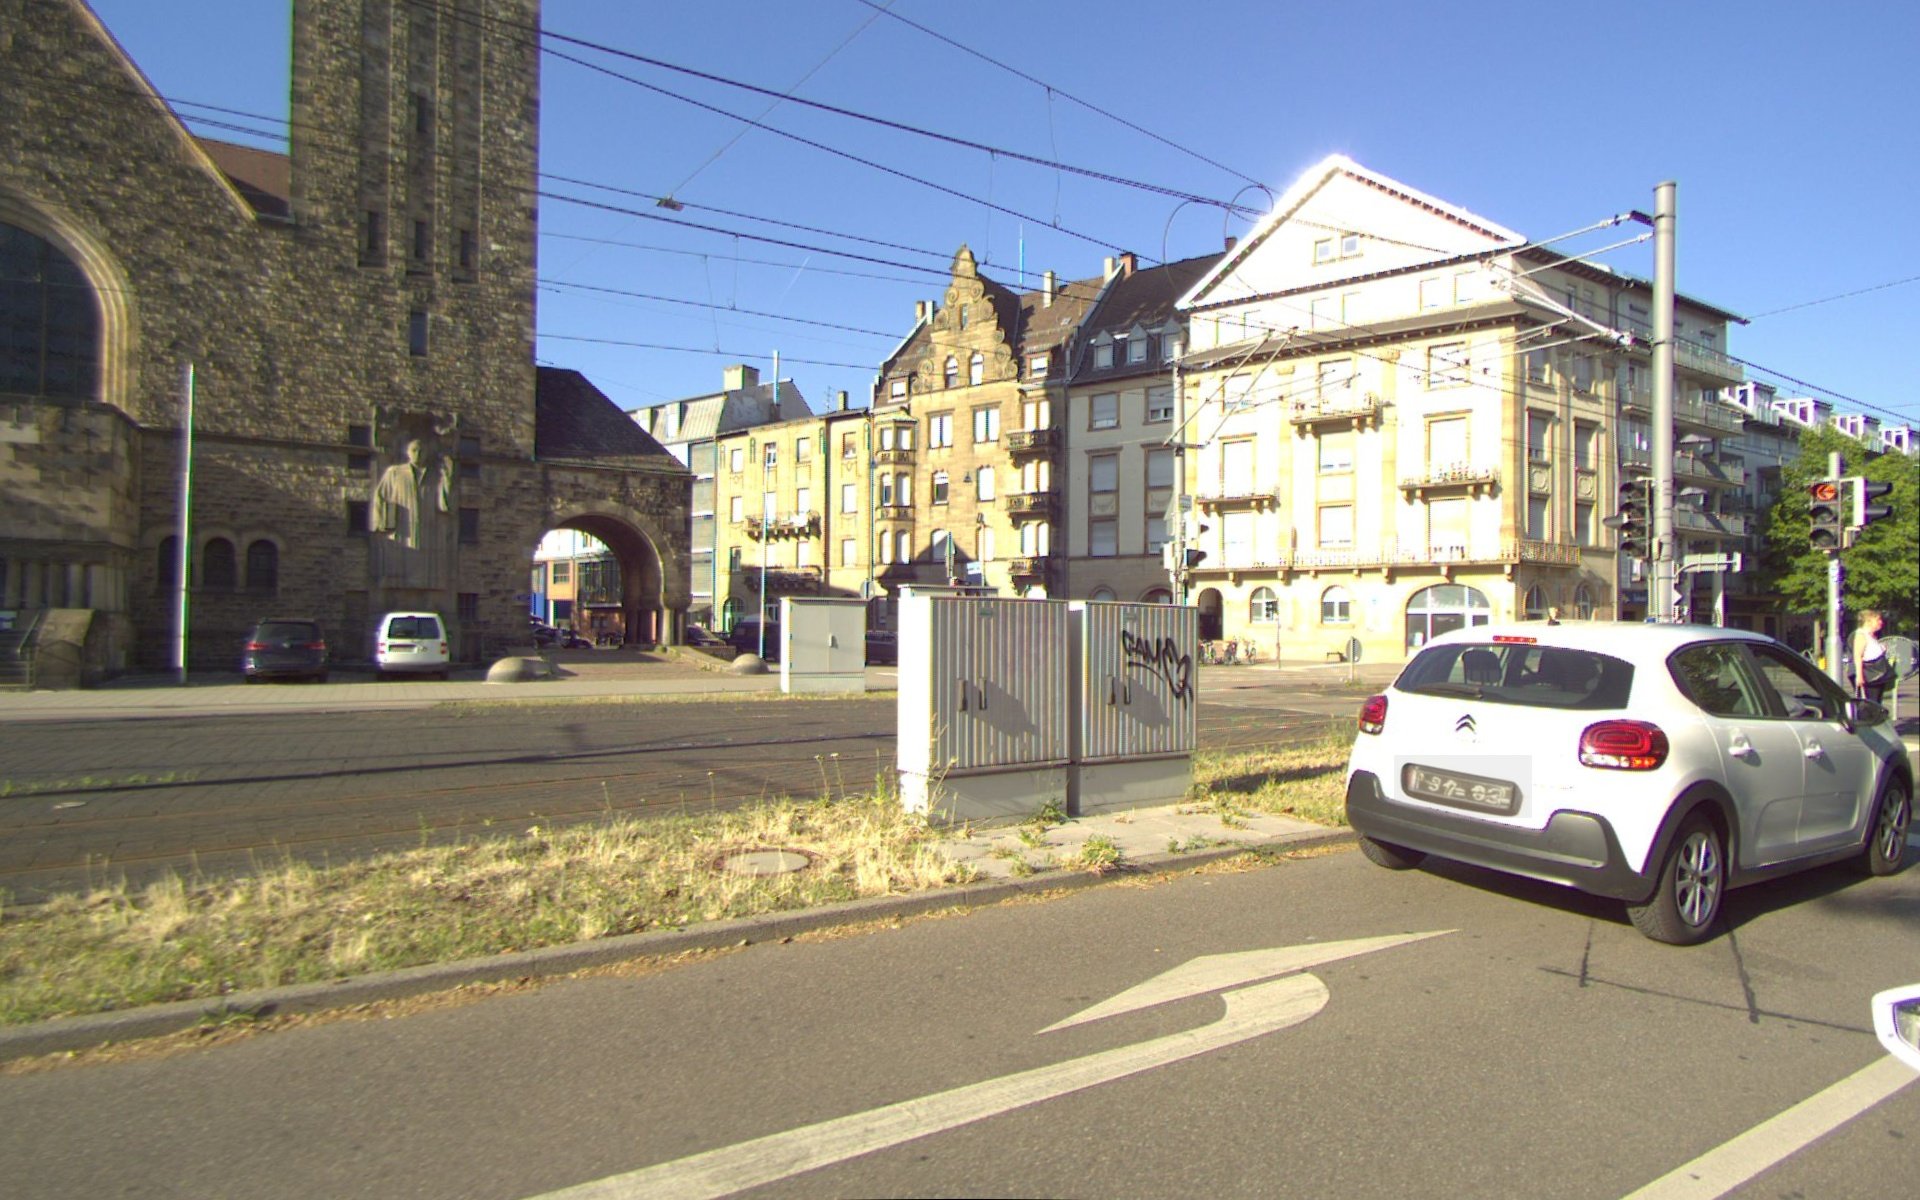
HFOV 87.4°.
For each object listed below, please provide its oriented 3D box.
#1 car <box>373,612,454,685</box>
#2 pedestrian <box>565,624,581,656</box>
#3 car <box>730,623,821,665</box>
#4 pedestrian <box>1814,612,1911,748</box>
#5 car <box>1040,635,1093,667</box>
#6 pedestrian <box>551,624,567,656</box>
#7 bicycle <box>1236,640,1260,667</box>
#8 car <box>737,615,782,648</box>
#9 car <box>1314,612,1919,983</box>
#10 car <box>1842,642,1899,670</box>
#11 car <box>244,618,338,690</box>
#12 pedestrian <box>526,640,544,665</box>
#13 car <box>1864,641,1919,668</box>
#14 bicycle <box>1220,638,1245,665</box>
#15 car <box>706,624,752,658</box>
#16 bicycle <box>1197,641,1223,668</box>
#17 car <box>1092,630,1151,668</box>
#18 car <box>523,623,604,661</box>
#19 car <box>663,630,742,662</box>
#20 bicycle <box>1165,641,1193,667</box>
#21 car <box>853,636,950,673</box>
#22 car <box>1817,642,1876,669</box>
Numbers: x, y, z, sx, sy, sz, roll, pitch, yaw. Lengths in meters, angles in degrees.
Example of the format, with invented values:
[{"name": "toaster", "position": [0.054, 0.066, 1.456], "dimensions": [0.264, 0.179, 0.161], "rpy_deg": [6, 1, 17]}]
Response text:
[{"name": "car", "position": [-15.419, 1.308, 28.302], "dimensions": [1.848, 1.830, 3.995], "rpy_deg": [2, 0, -30]}, {"name": "pedestrian", "position": [-20.649, 2.135, 53.588], "dimensions": [0.648, 1.642, 0.462], "rpy_deg": [2, 0, -44]}, {"name": "car", "position": [-9.342, 2.191, 50.761], "dimensions": [4.416, 1.893, 1.993], "rpy_deg": [2, 0, 36]}, {"name": "pedestrian", "position": [11.440, 0.990, 12.739], "dimensions": [0.915, 1.642, 0.673], "rpy_deg": [2, 0, -33]}, {"name": "car", "position": [5.479, 2.622, 52.108], "dimensions": [1.962, 1.374, 3.997], "rpy_deg": [-3, 0, -5]}, {"name": "pedestrian", "position": [-21.136, 2.117, 52.959], "dimensions": [0.647, 1.643, 0.462], "rpy_deg": [1, 2, -42]}, {"name": "bicycle", "position": [13.742, 2.559, 47.926], "dimensions": [0.519, 1.206, 2.121], "rpy_deg": [2, 0, 32]}, {"name": "car", "position": [-13.044, 2.012, 65.504], "dimensions": [1.750, 1.929, 4.001], "rpy_deg": [-2, 1, 5]}, {"name": "car", "position": [4.094, 0.892, 5.936], "dimensions": [3.955, 1.519, 1.624], "rpy_deg": [2, 0, -31]}, {"name": "car", "position": [59.409, 3.624, 65.540], "dimensions": [3.742, 1.699, 1.797], "rpy_deg": [2, 0, -31]}, {"name": "car", "position": [-17.625, 1.370, 26.618], "dimensions": [1.747, 1.652, 4.011], "rpy_deg": [2, 0, -30]}, {"name": "pedestrian", "position": [-20.894, 2.561, 49.345], "dimensions": [0.688, 1.143, 0.650], "rpy_deg": [2, 1, -14]}, {"name": "car", "position": [62.838, 3.658, 67.696], "dimensions": [3.742, 1.657, 1.797], "rpy_deg": [2, 0, -31]}, {"name": "bicycle", "position": [13.067, 2.470, 48.113], "dimensions": [0.519, 1.206, 2.121], "rpy_deg": [2, 0, 32]}, {"name": "car", "position": [-15.152, 2.683, 66.204], "dimensions": [1.750, 1.929, 4.001], "rpy_deg": [-2, 1, 5]}, {"name": "bicycle", "position": [11.916, 2.596, 47.877], "dimensions": [0.544, 1.206, 2.121], "rpy_deg": [2, 0, 32]}, {"name": "car", "position": [8.041, 2.425, 50.327], "dimensions": [1.962, 1.606, 3.997], "rpy_deg": [-3, 0, -5]}, {"name": "car", "position": [-22.615, 2.348, 57.246], "dimensions": [4.829, 1.893, 1.993], "rpy_deg": [2, 0, 36]}, {"name": "car", "position": [-13.952, 2.467, 54.378], "dimensions": [4.270, 1.522, 1.836], "rpy_deg": [2, 0, 36]}, {"name": "bicycle", "position": [10.678, 2.621, 48.899], "dimensions": [0.520, 1.206, 2.120], "rpy_deg": [2, 0, 34]}, {"name": "car", "position": [-2.695, 2.437, 45.778], "dimensions": [4.216, 1.438, 1.836], "rpy_deg": [1, 0, 36]}, {"name": "car", "position": [55.910, 3.473, 63.345], "dimensions": [3.742, 1.599, 1.797], "rpy_deg": [2, 0, -31]}]
